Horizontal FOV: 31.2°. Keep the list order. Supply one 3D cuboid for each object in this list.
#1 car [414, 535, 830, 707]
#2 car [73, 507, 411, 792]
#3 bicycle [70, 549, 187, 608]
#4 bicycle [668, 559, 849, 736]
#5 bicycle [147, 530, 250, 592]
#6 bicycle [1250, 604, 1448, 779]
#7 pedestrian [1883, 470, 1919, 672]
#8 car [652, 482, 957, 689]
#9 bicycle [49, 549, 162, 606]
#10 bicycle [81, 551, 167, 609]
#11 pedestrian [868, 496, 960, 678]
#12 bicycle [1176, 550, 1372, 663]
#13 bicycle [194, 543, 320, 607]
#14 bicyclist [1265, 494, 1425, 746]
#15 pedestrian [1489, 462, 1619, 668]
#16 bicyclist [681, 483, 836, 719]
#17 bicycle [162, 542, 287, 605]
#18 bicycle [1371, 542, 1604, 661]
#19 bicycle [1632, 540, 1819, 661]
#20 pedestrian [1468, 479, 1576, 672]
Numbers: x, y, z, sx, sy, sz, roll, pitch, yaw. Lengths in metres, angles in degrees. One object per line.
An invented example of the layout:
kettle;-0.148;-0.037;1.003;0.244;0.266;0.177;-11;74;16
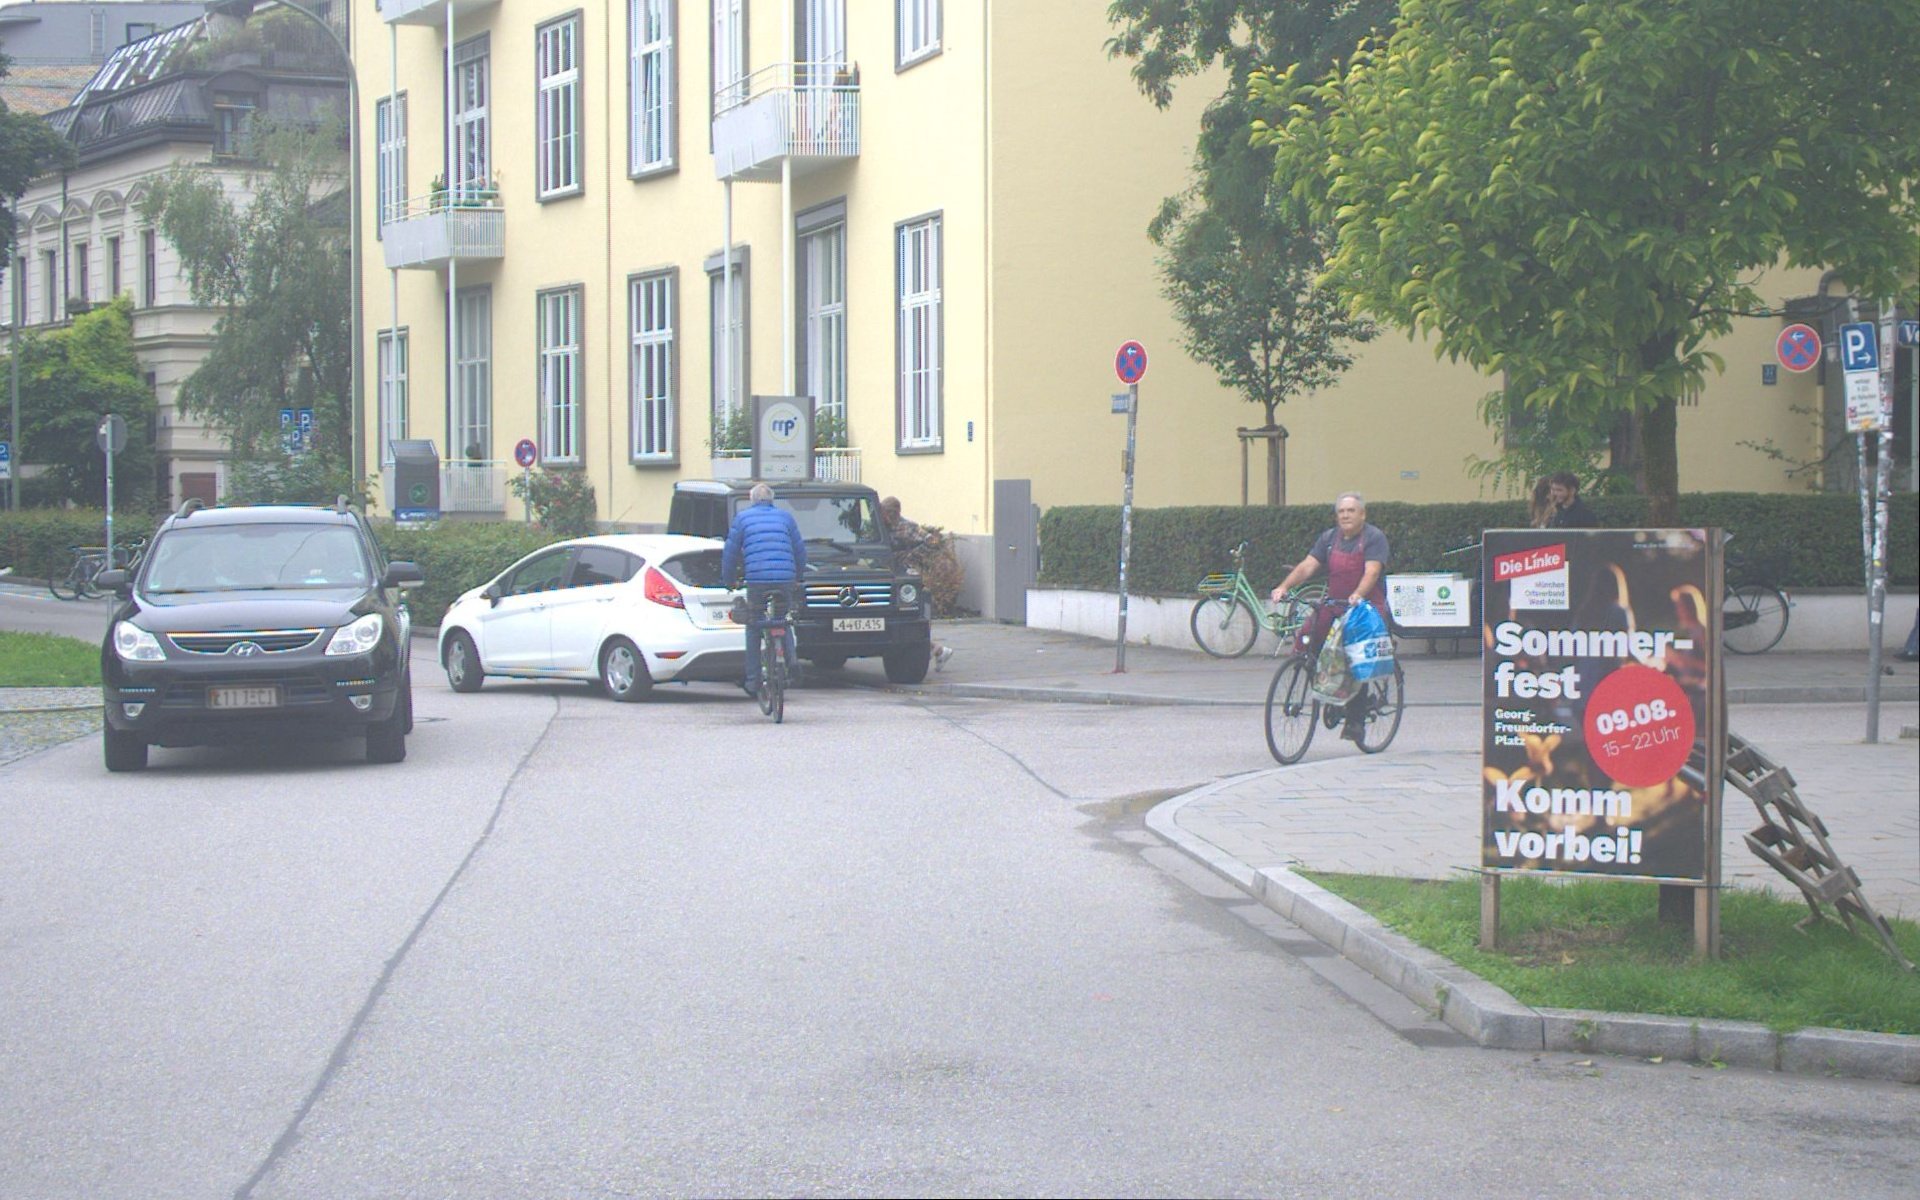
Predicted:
car;-3.070;0.139;30.820;1.748;1.401;3.725;-2;3;-45
car;-4.819;0.240;23.647;1.993;1.713;4.616;-1;2;-8
bicycle;-14.926;-0.394;61.735;1.972;1.025;0.619;-1;2;-41
bicycle;-1.585;0.334;26.617;0.920;1.248;2.322;-1;2;-16
bicycle;-12.883;-0.663;58.198;0.533;1.025;1.975;0;1;28
bicycle;2.601;0.574;22.734;0.877;1.016;2.189;0;2;18
pedestrian;9.169;-0.287;32.035;0.850;1.851;0.767;-2;1;-5
car;-1.616;-0.216;33.919;1.873;1.881;4.620;-1;2;-17
bicycle;-15.811;-0.421;63.640;1.972;1.025;0.619;-1;2;-41
bicycle;-15.564;-0.383;64.018;1.534;1.011;0.409;-3;3;-44
pedestrian;-0.460;-0.140;33.832;0.848;1.751;0.954;-1;2;-2
bicycle;3.113;0.070;34.207;1.948;1.081;0.528;-1;0;39
bicycle;-11.493;-0.420;56.258;1.972;1.025;0.619;-1;2;-41
bicyclist;2.536;0.114;22.569;0.876;1.603;1.049;0;2;16
pedestrian;5.267;-0.316;30.508;0.989;1.803;0.660;-1;1;-4
bicyclist;-1.562;-0.014;26.470;0.914;1.758;1.216;-1;2;-17
bicycle;-12.228;-0.444;57.177;1.972;1.025;0.619;-1;2;-41
bicycle;5.078;0.010;33.074;2.169;1.112;0.640;0;2;13
bicycle;7.282;-0.002;32.724;1.682;1.126;0.460;-1;2;-5
pedestrian;5.157;-0.234;31.566;0.826;1.740;0.741;-1;2;-5
